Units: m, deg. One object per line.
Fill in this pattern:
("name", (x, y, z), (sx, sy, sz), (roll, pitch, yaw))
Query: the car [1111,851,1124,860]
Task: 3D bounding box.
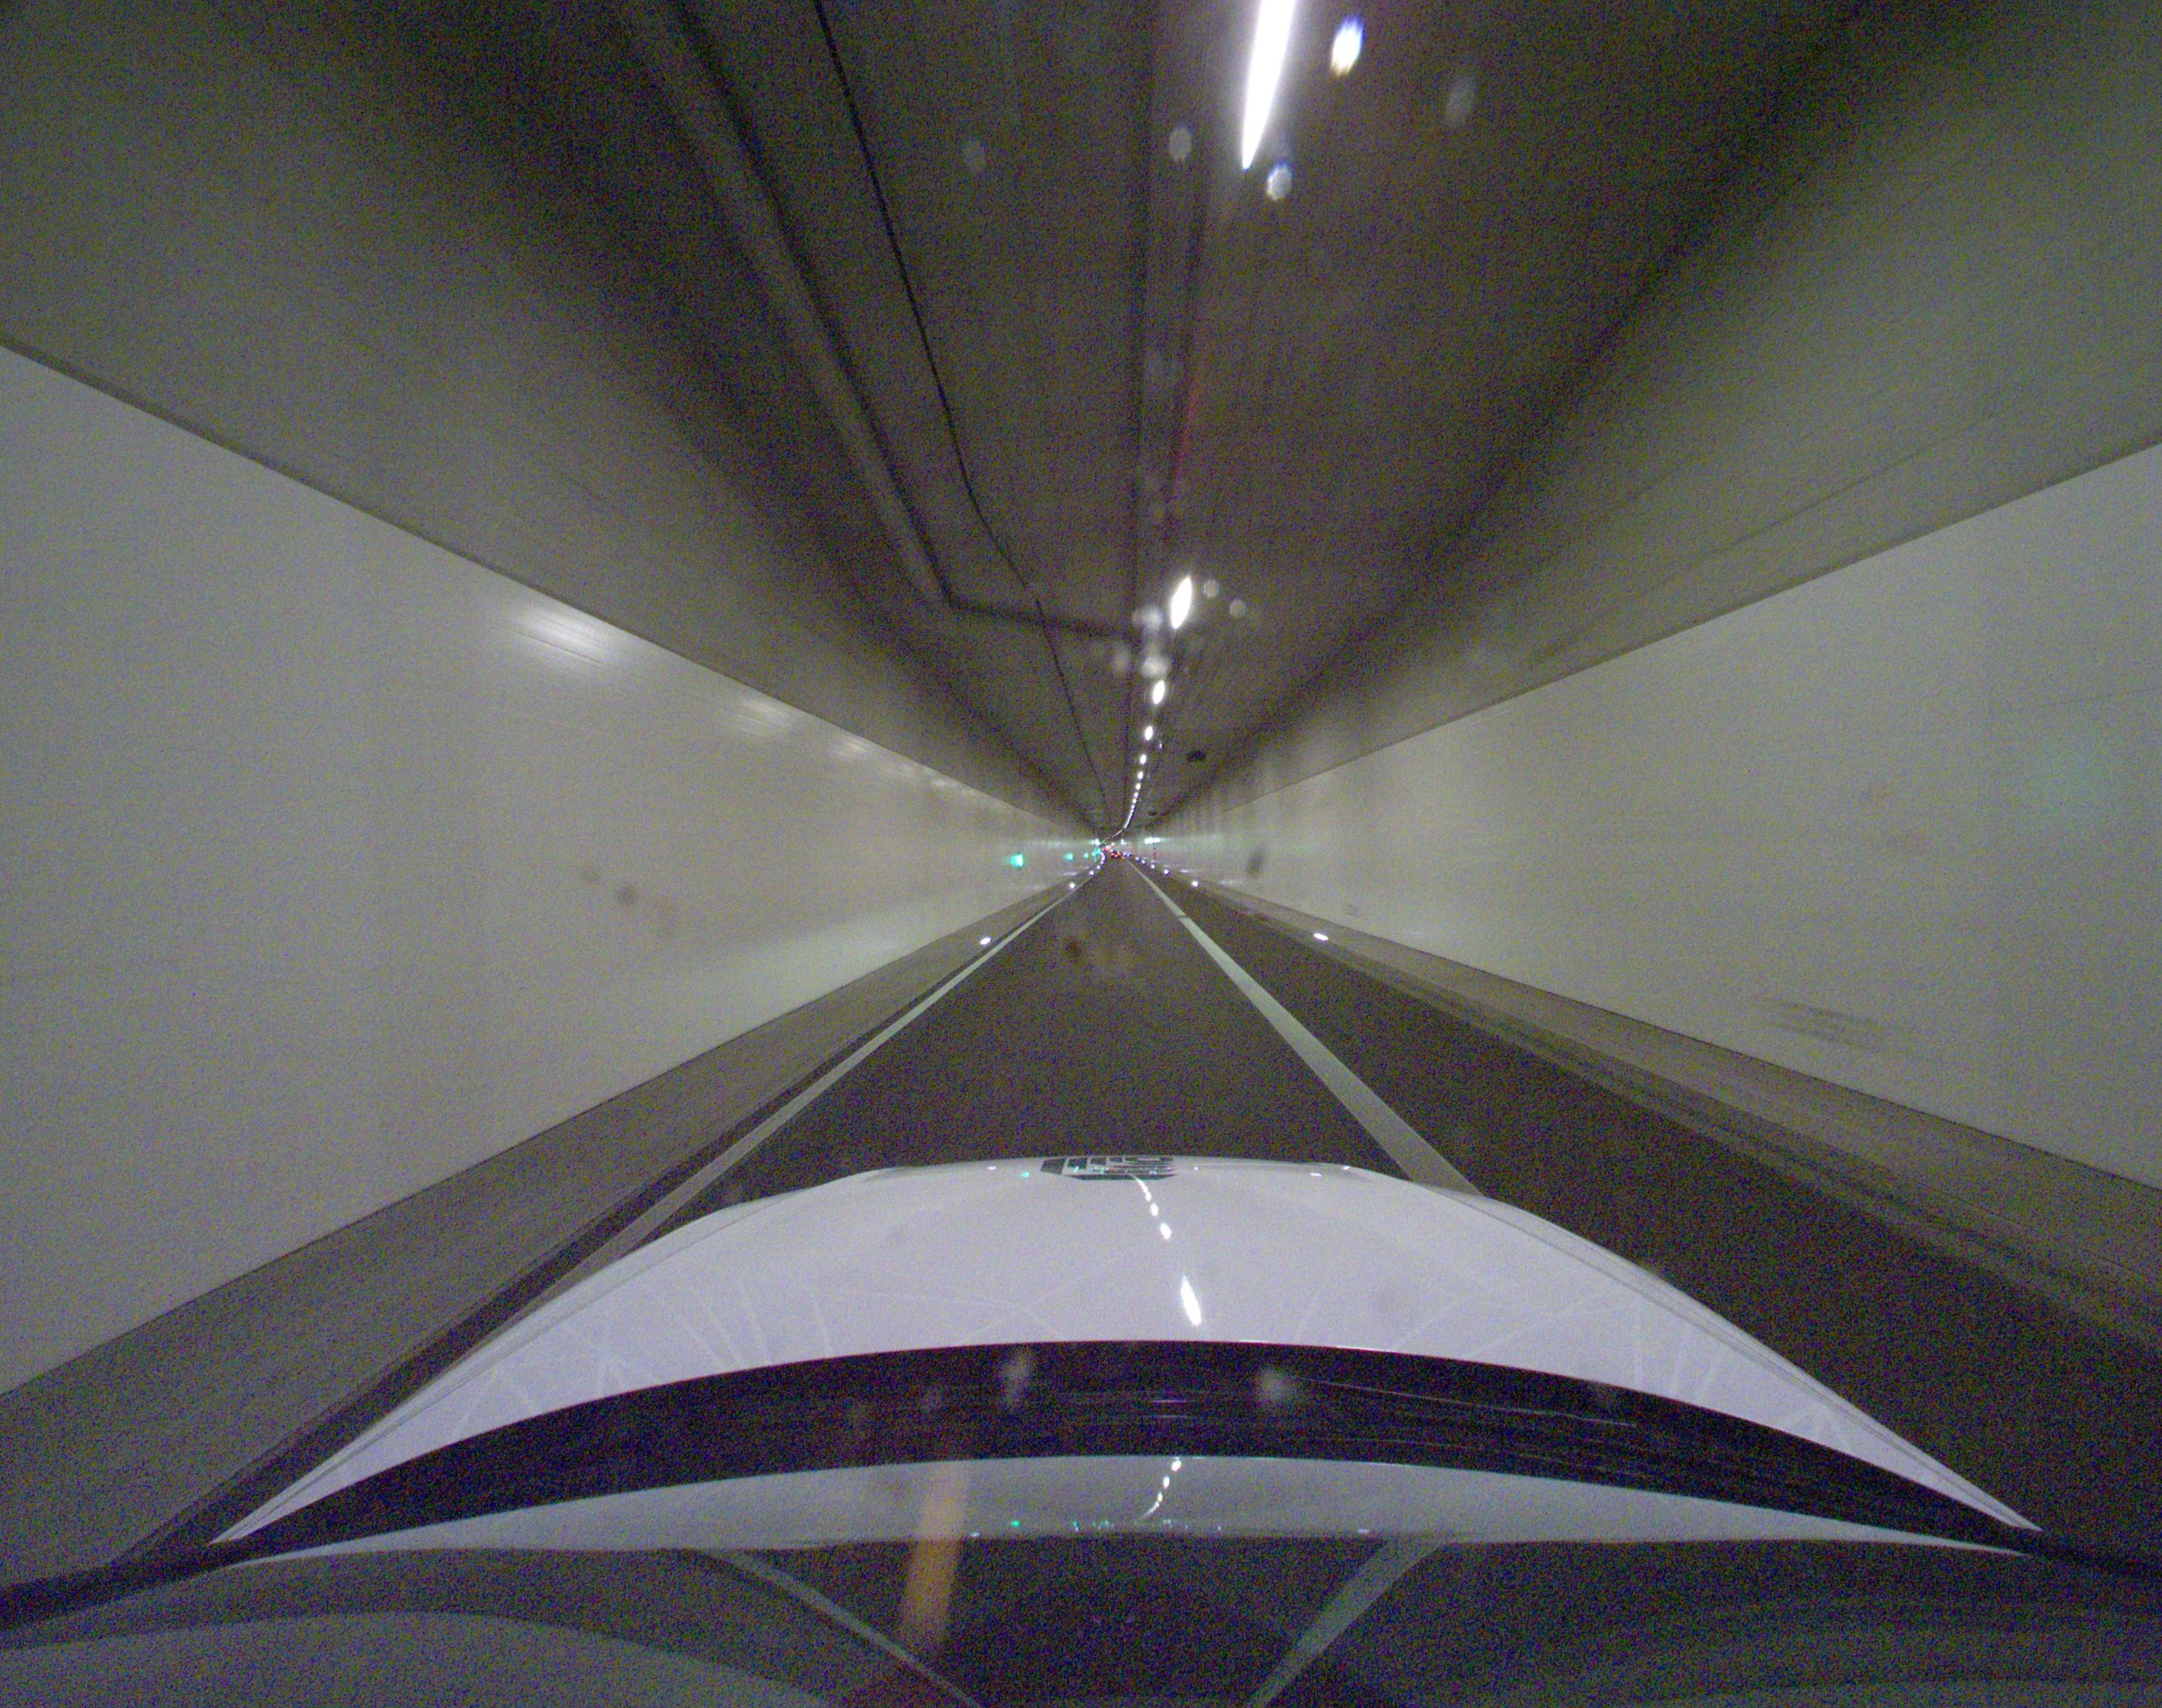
("car", (6.425, 0.236, 142.937), (1.987, 1.420, 4.000), (2, 0, 0))
